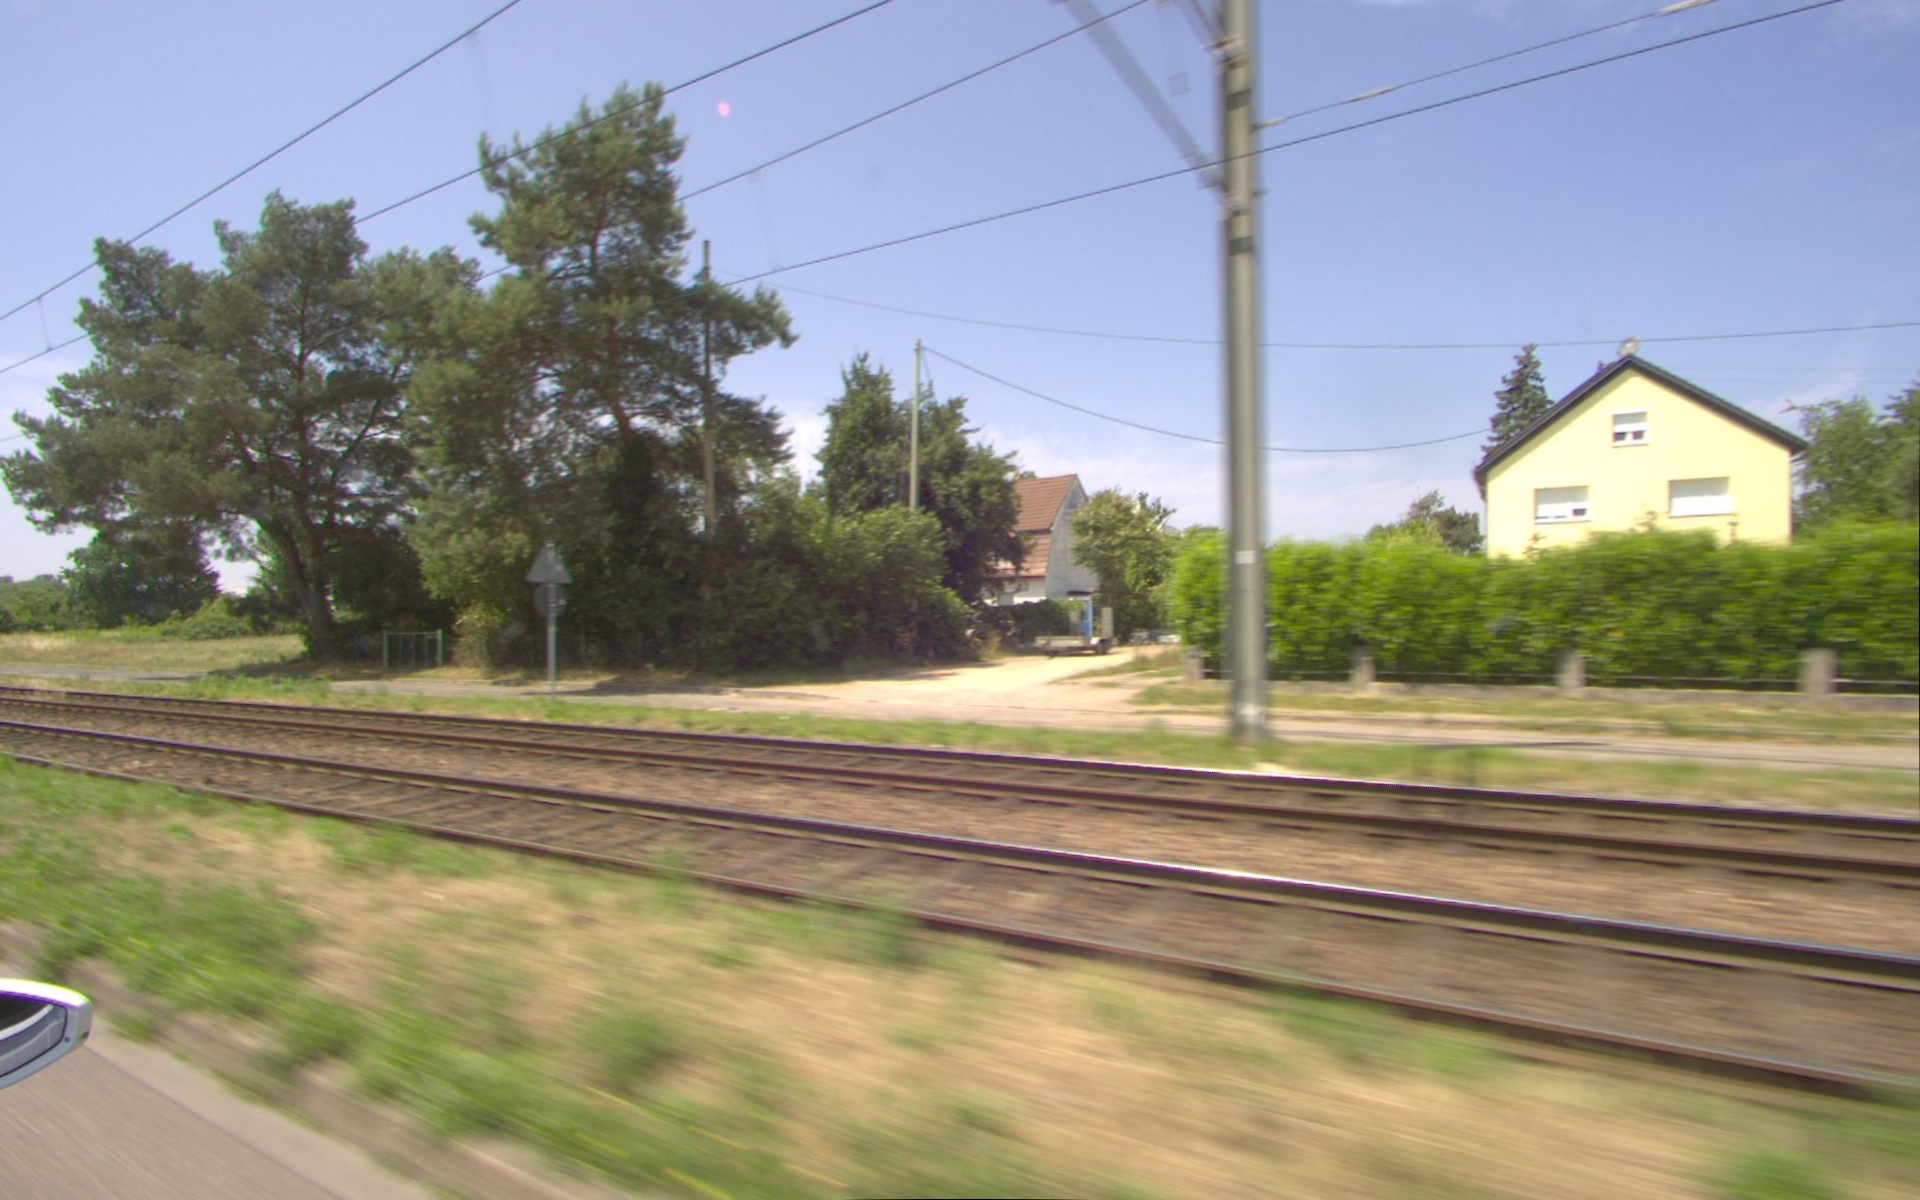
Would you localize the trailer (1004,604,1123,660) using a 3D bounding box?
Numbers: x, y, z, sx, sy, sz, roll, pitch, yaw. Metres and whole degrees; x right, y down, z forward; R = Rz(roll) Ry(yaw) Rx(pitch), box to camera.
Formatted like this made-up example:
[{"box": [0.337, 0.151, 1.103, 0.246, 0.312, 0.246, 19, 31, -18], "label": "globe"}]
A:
[{"box": [3.847, 1.109, 36.331, 2.133, 1.830, 5.108, -2, -1, 33], "label": "trailer"}]
